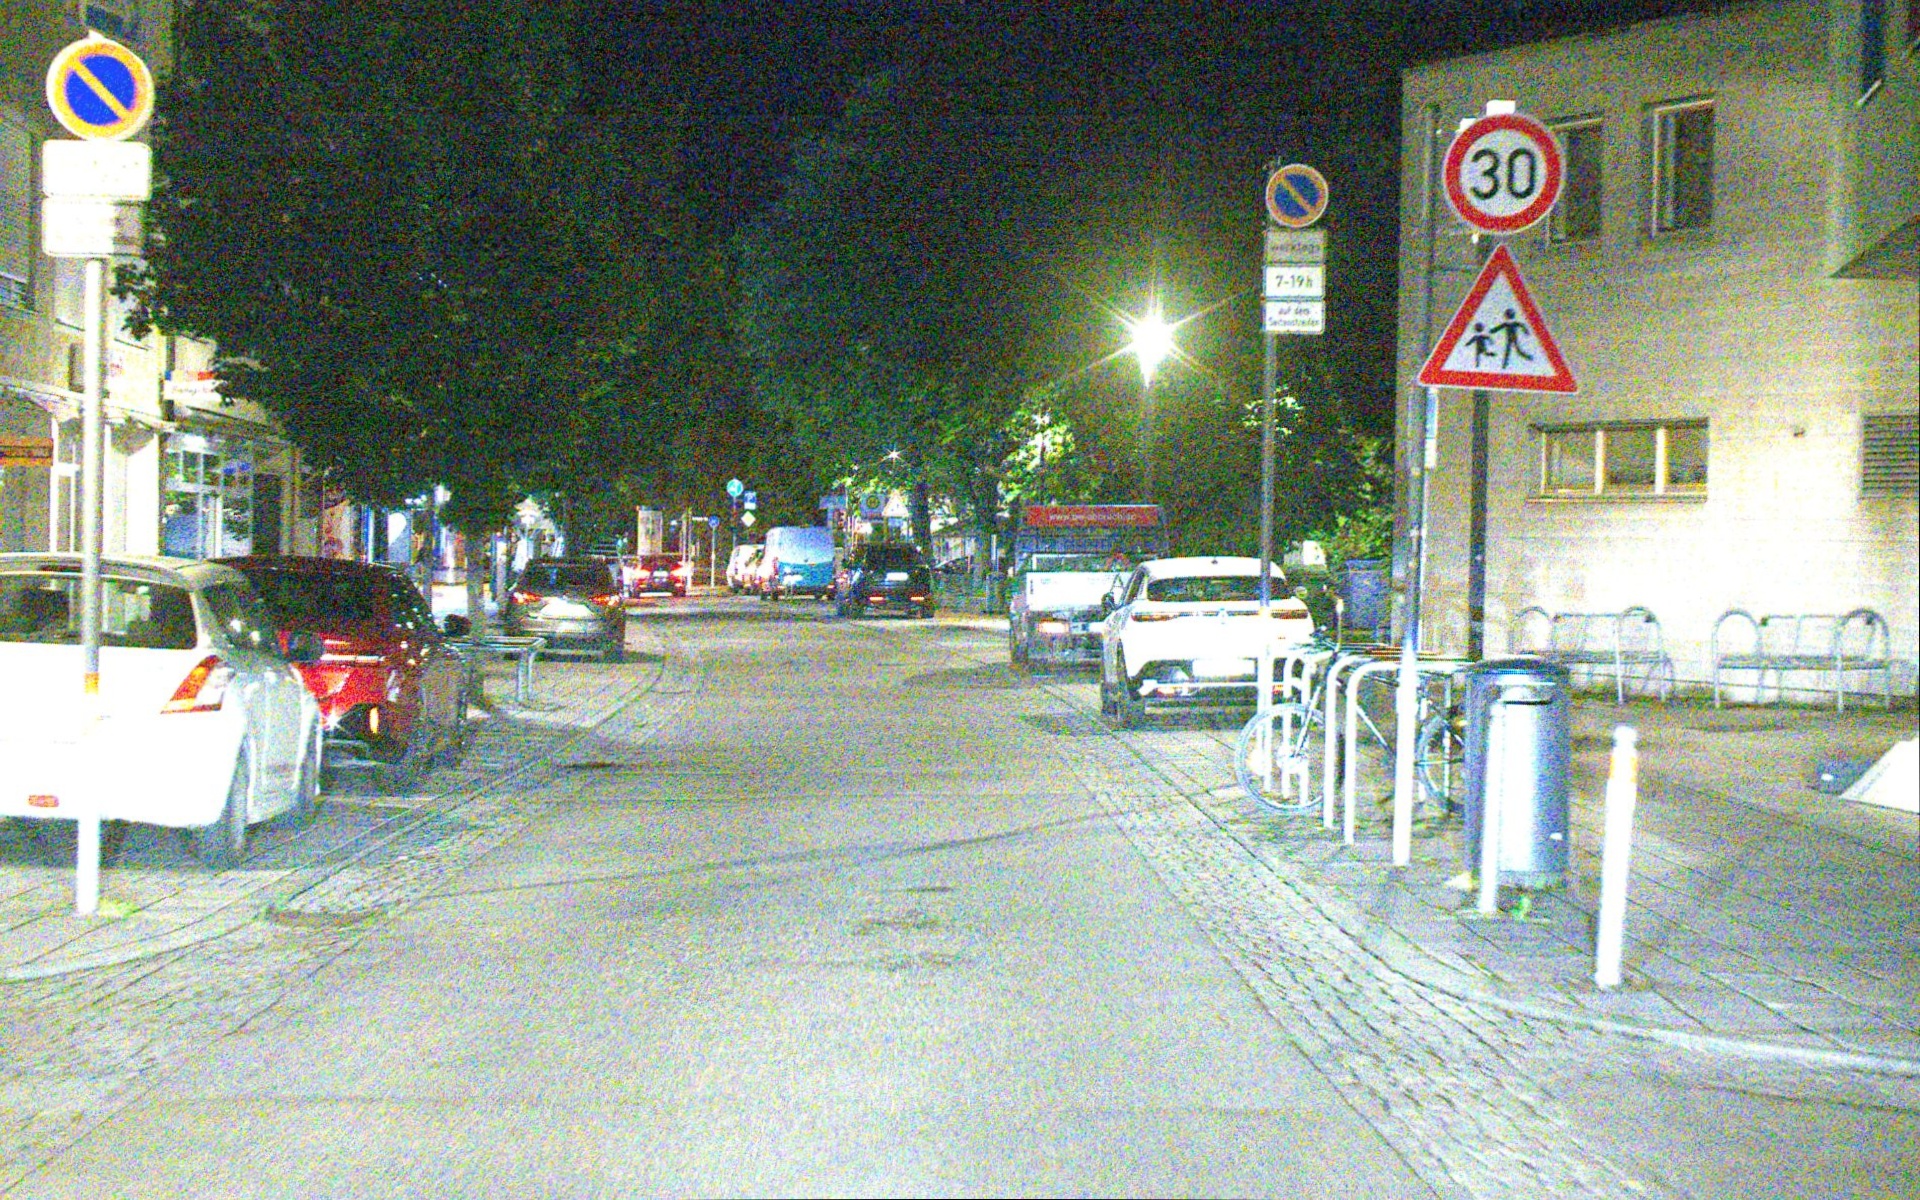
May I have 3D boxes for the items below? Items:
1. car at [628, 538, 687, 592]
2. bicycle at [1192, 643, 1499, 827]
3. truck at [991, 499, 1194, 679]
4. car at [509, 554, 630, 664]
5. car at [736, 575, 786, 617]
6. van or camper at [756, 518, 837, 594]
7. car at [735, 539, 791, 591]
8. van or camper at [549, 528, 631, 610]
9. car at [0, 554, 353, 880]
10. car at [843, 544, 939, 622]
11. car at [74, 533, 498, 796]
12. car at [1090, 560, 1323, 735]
[{"bbox_3d":[-10.610,-1.217,120.386,1.993,1.817,4.001,1,0,-6],"label":"car"},{"bbox_3d":[2.258,0.787,20.187,1.754,1.058,0.346,0,0,-4],"label":"bicycle"},{"bbox_3d":[1.729,-0.173,47.116,2.336,2.304,5.781,0,1,-2],"label":"truck"},{"bbox_3d":[-5.862,0.105,51.300,1.673,1.538,4.231,2,0,-7],"label":"car"},{"bbox_3d":[-7.032,-0.150,121.361,1.531,1.413,3.846,1,1,-7],"label":"car"},{"bbox_3d":[-5.166,-1.385,108.361,2.108,2.309,4.263,-1,1,-8],"label":"van or camper"},{"bbox_3d":[-7.326,-1.297,127.420,1.839,1.894,3.846,1,1,-7],"label":"car"},{"bbox_3d":[-9.609,-0.804,89.107,1.866,2.004,4.263,2,0,-8],"label":"van or camper"},{"bbox_3d":[-4.297,0.522,17.847,1.728,1.472,3.847,2,0,-3],"label":"car"},{"bbox_3d":[-1.696,-0.418,82.573,1.814,1.822,4.348,0,1,-8],"label":"car"},{"bbox_3d":[-4.449,0.373,23.500,2.019,1.483,5.008,4,0,-2],"label":"car"},{"bbox_3d":[2.209,0.392,31.733,1.789,1.486,4.059,-1,1,-1],"label":"car"}]
